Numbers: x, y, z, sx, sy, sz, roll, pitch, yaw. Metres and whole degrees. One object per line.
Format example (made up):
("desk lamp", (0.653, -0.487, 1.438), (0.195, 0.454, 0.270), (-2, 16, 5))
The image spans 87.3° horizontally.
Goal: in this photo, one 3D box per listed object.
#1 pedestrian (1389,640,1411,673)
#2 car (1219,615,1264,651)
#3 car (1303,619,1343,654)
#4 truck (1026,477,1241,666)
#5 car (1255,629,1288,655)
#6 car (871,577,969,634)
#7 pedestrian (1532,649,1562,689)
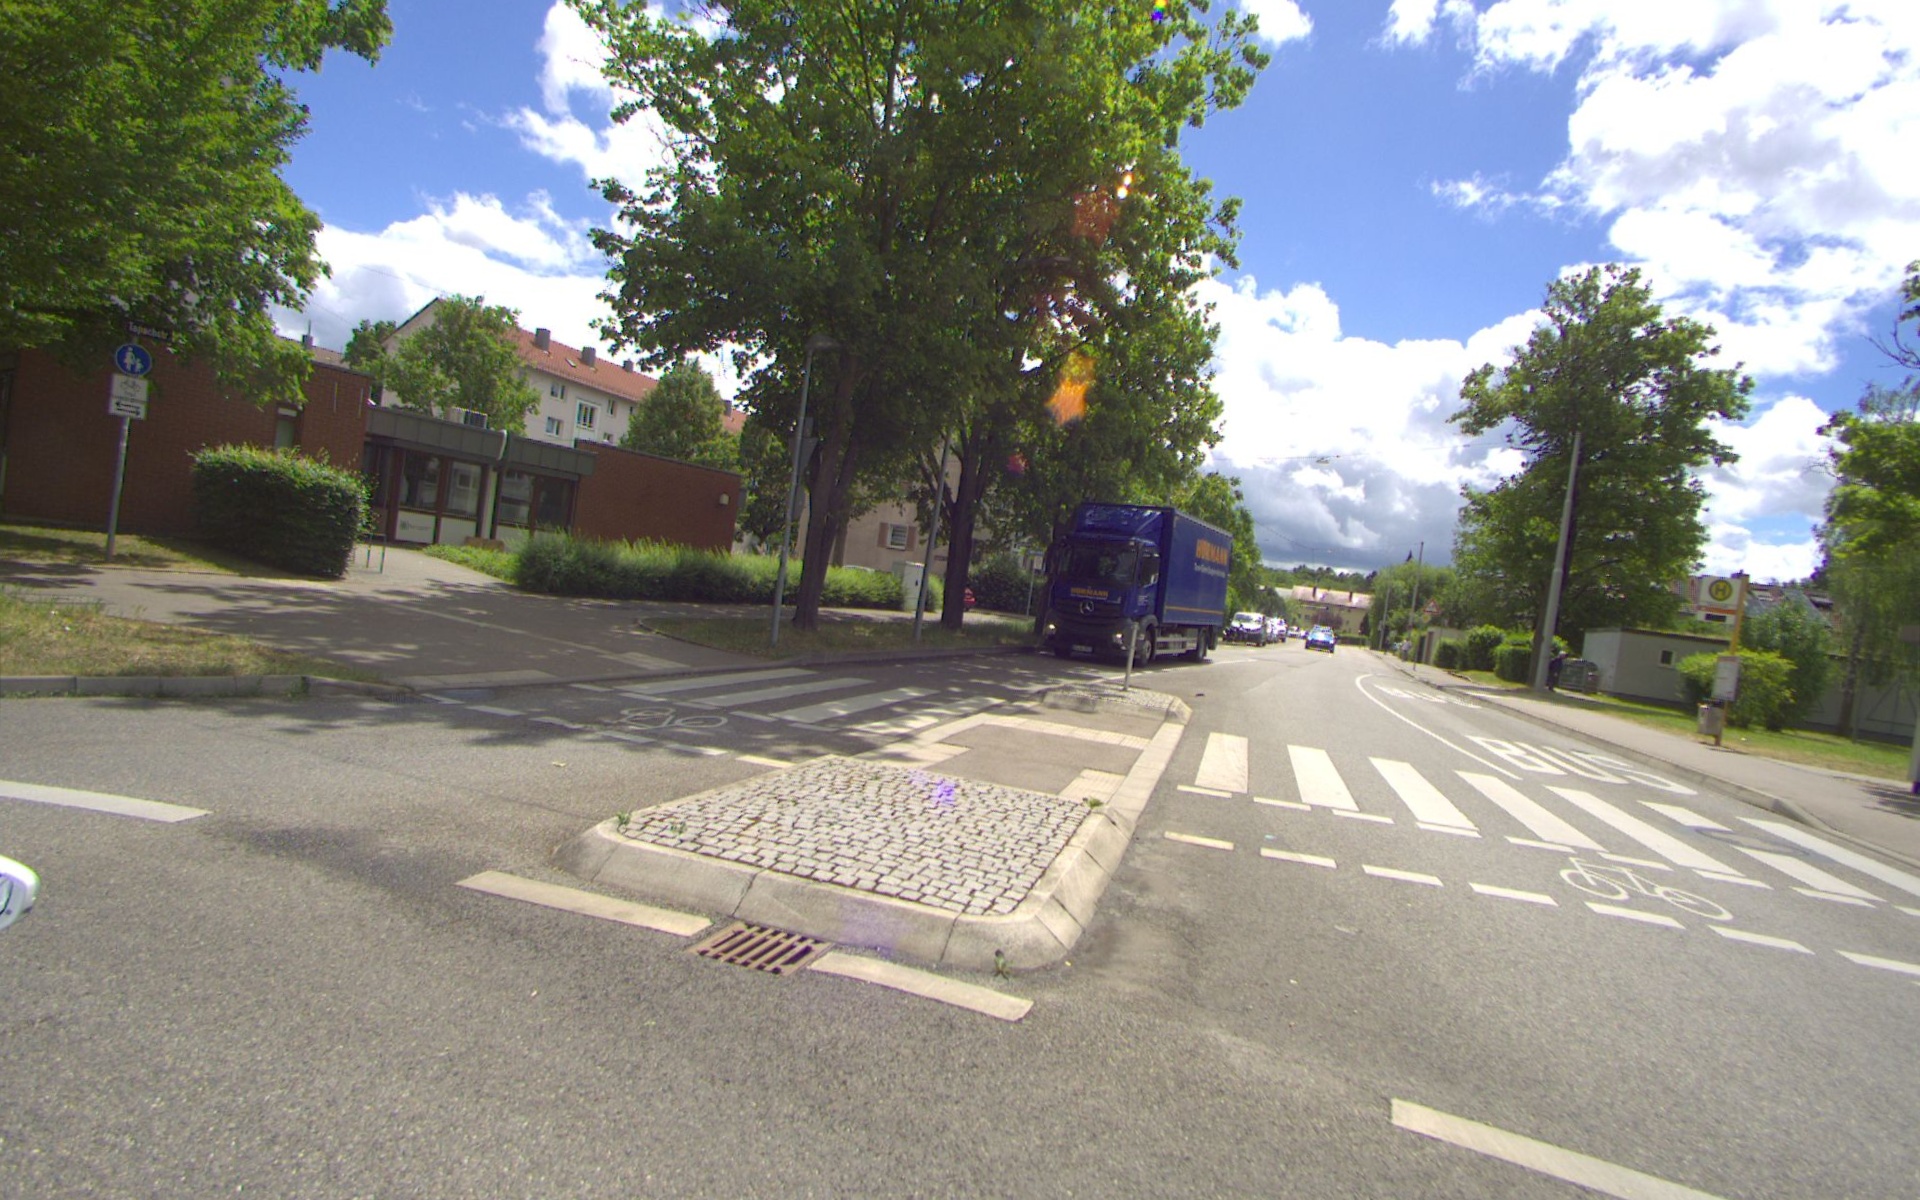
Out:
("pedestrian", (29.677, 3.796, 67.873), (1.005, 2.040, 1.041), (8, 3, 19))
("car", (15.732, 1.874, 56.142), (1.963, 1.571, 4.001), (9, 0, 20))
("car", (23.554, 2.397, 65.223), (1.964, 1.802, 3.999), (9, 0, 23))
("truck", (5.279, -0.456, 28.361), (2.740, 4.204, 9.786), (8, 1, 27))
("car", (23.548, 3.212, 75.973), (1.963, 1.571, 4.001), (9, 0, 20))
("car", (-1.895, 0.269, 47.636), (3.928, 1.965, 2.017), (9, 1, 24))
("pedestrian", (25.342, 2.971, 43.423), (0.888, 1.602, 0.659), (9, 3, 29))
